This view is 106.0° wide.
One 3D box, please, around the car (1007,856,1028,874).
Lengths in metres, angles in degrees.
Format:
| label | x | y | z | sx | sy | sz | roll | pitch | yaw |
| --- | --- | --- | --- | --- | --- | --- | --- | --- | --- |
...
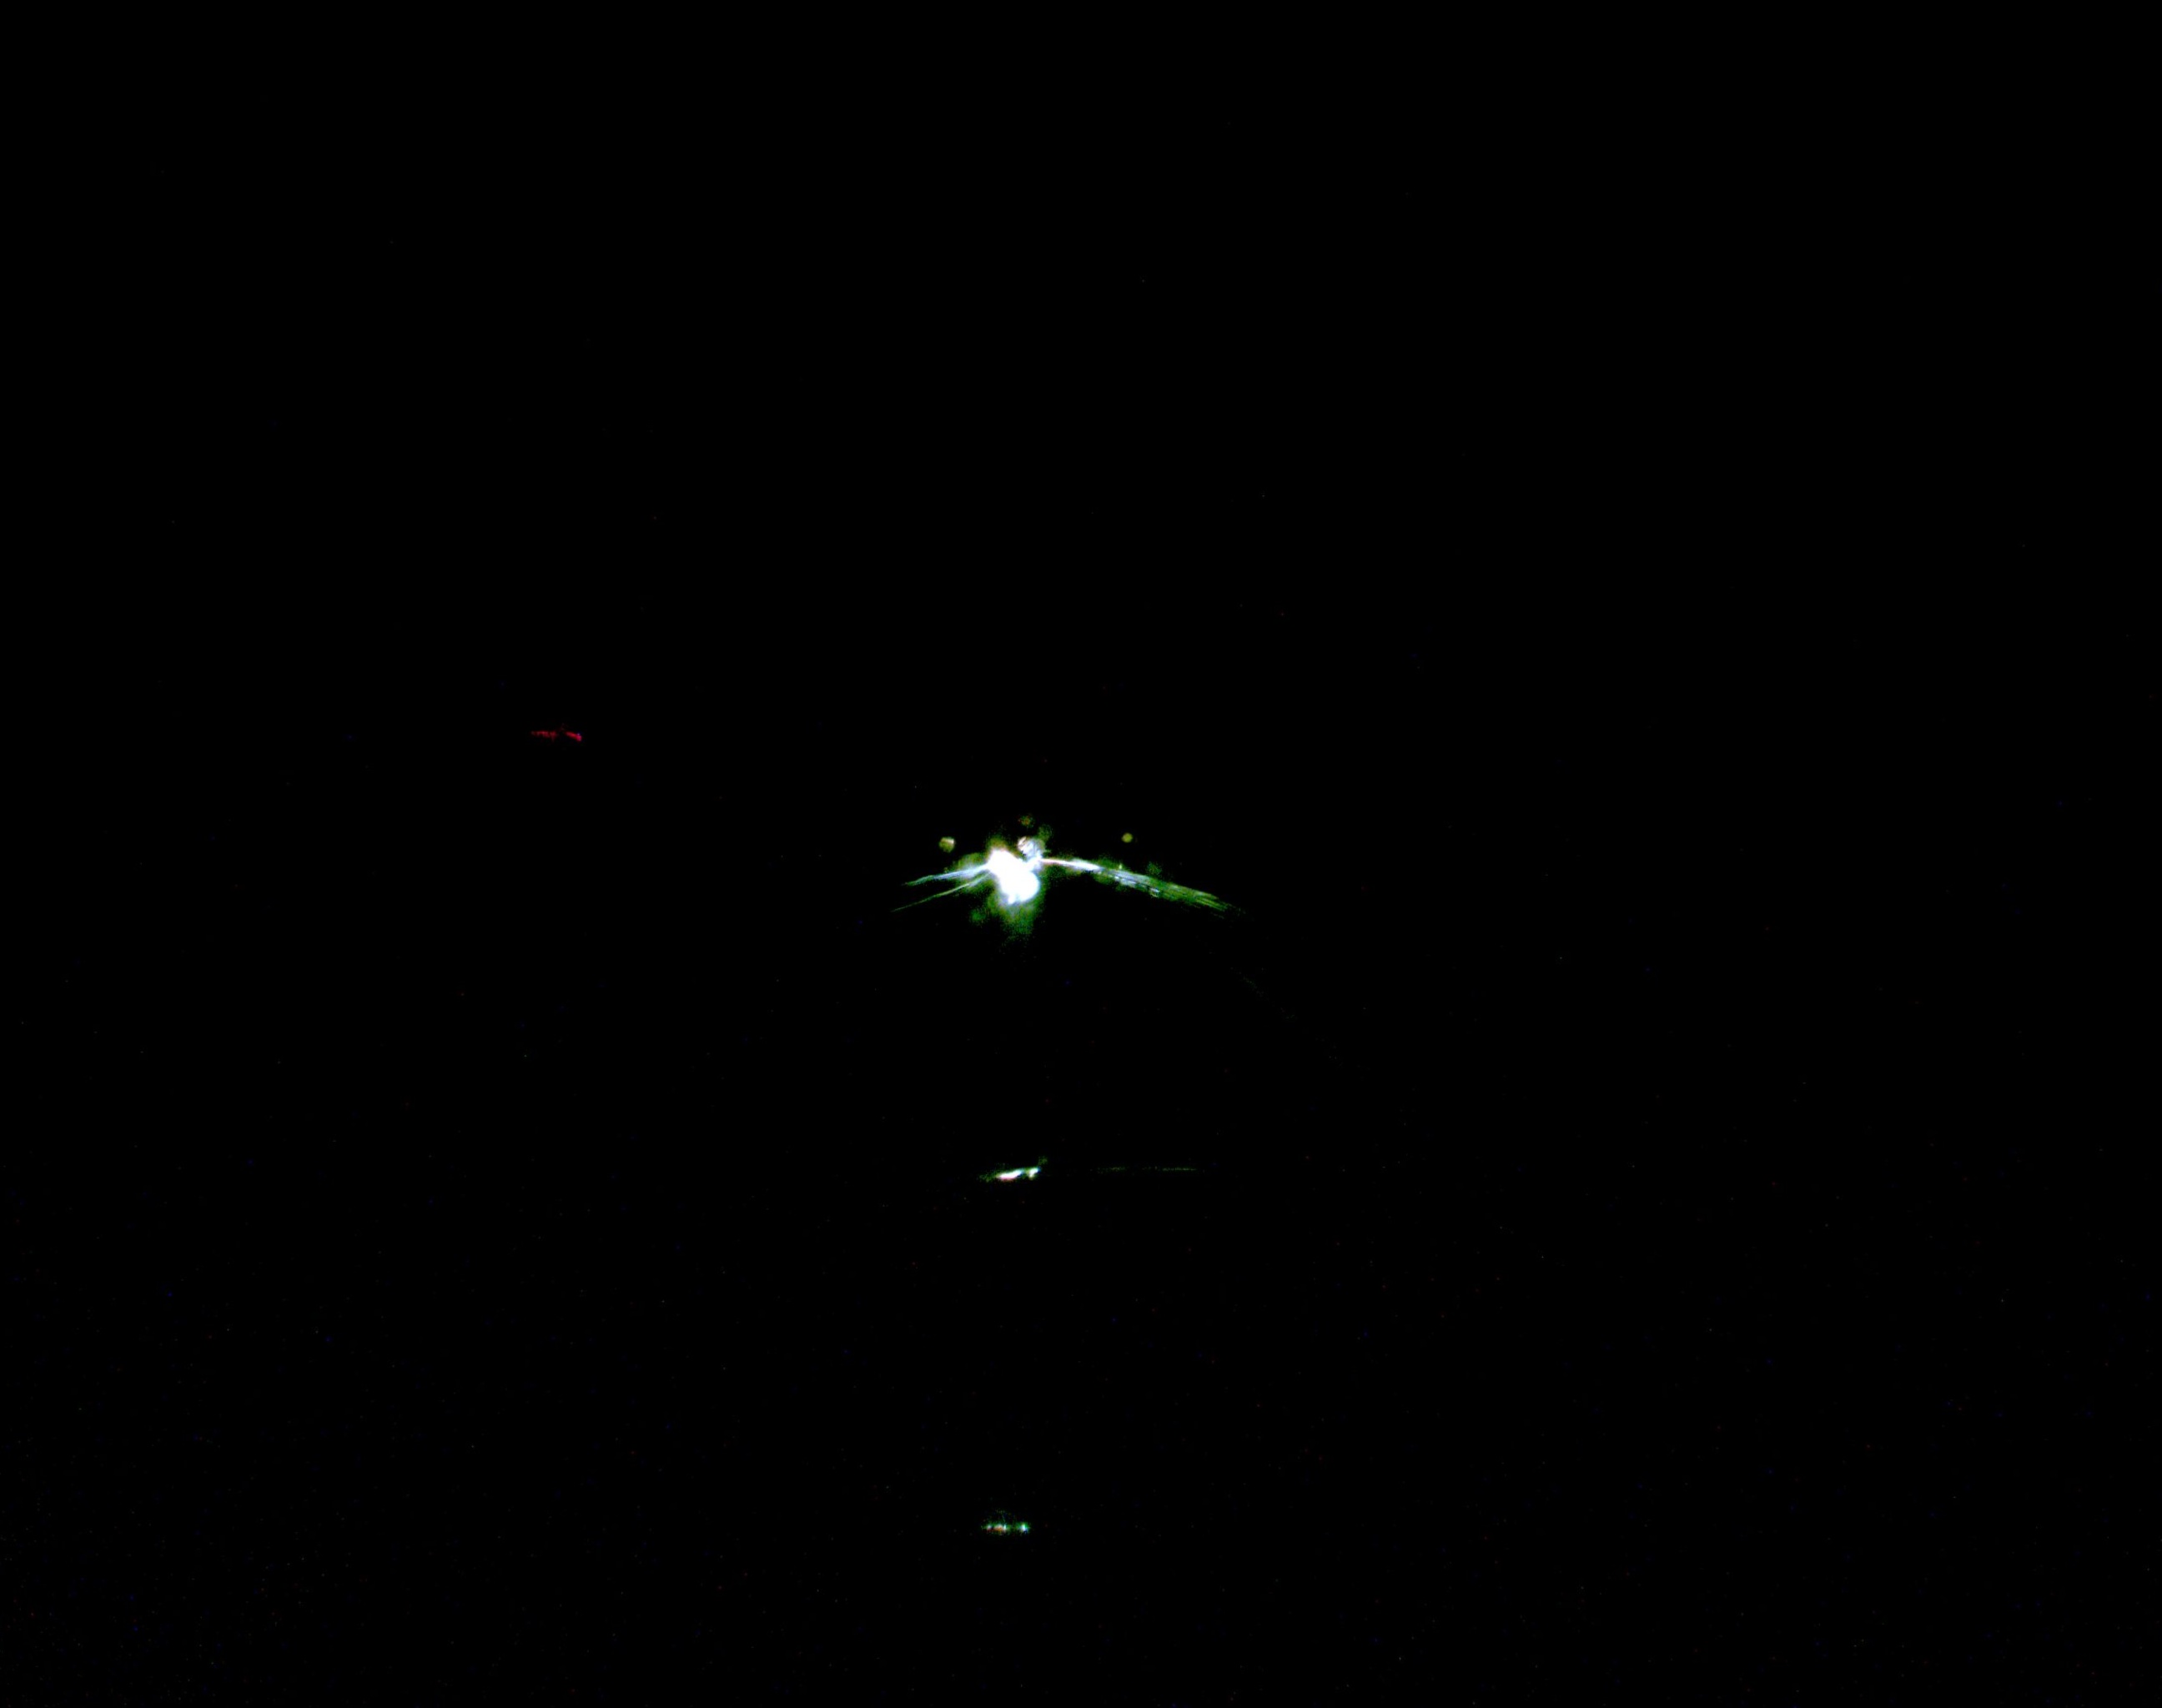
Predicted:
| label | x | y | z | sx | sy | sz | roll | pitch | yaw |
| --- | --- | --- | --- | --- | --- | --- | --- | --- | --- |
| car | -5.427 | 0.912 | 70.161 | 1.698 | 1.506 | 3.678 | -1 | 0 | -4 |
